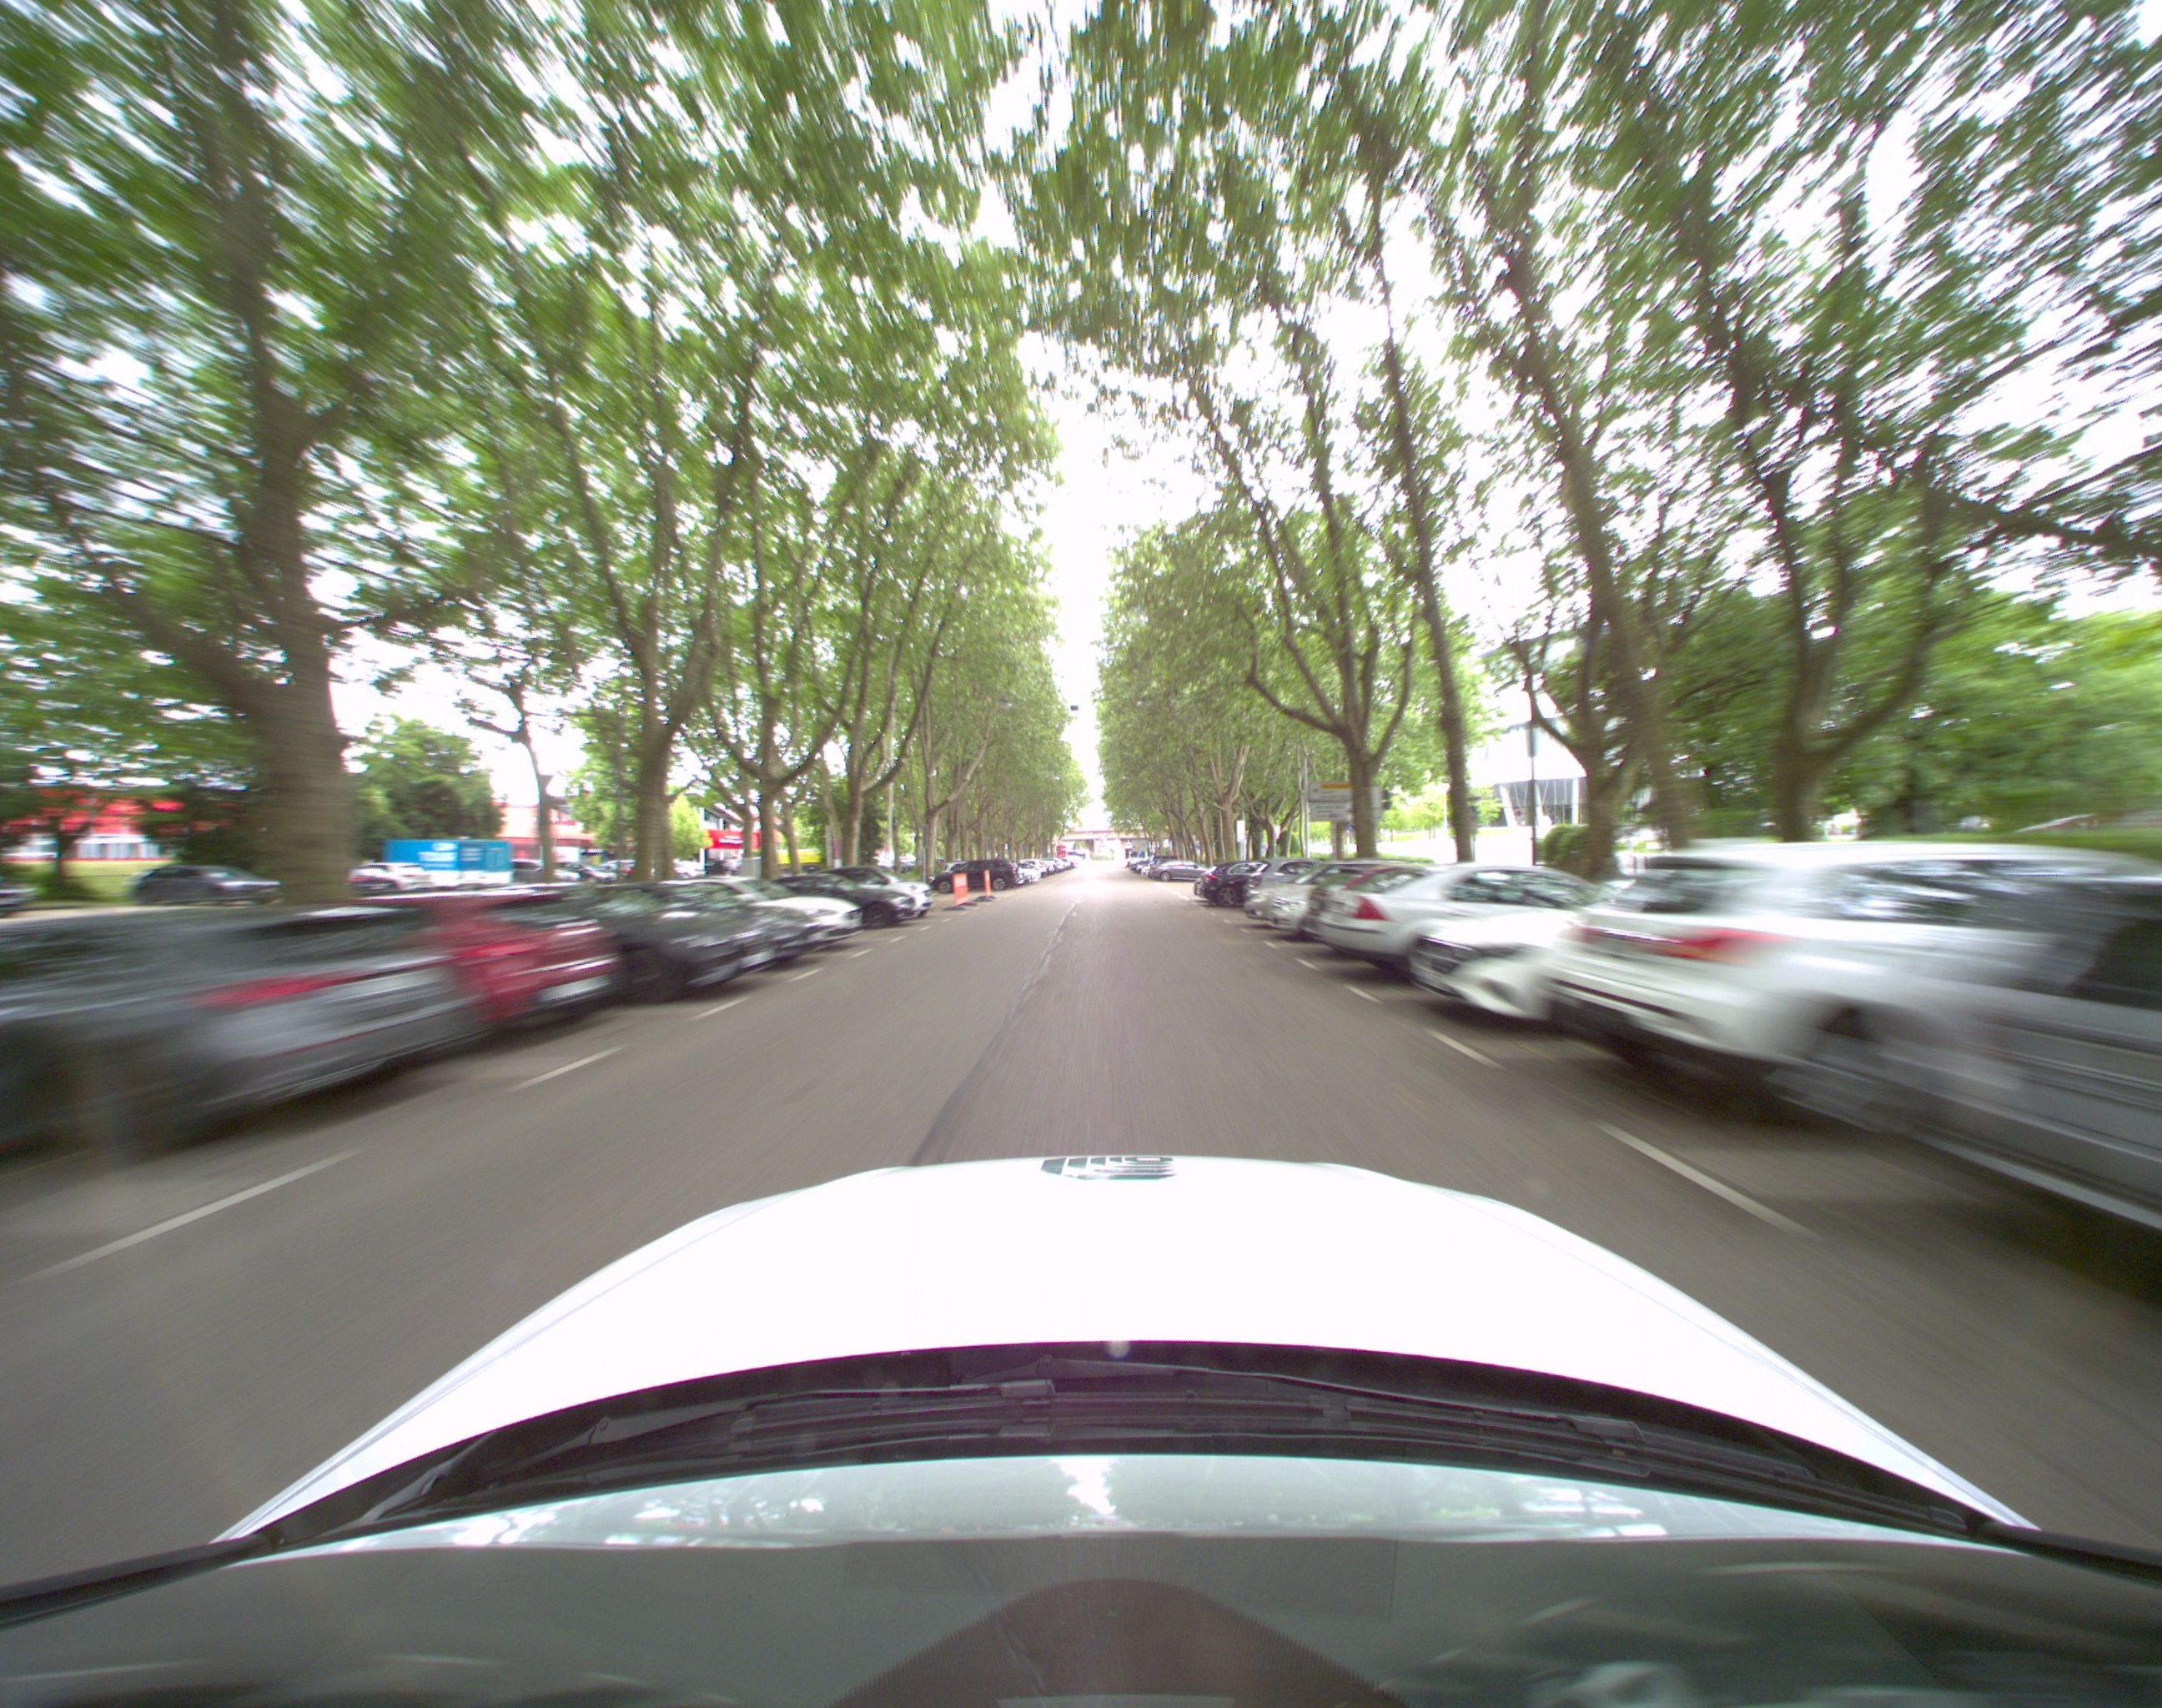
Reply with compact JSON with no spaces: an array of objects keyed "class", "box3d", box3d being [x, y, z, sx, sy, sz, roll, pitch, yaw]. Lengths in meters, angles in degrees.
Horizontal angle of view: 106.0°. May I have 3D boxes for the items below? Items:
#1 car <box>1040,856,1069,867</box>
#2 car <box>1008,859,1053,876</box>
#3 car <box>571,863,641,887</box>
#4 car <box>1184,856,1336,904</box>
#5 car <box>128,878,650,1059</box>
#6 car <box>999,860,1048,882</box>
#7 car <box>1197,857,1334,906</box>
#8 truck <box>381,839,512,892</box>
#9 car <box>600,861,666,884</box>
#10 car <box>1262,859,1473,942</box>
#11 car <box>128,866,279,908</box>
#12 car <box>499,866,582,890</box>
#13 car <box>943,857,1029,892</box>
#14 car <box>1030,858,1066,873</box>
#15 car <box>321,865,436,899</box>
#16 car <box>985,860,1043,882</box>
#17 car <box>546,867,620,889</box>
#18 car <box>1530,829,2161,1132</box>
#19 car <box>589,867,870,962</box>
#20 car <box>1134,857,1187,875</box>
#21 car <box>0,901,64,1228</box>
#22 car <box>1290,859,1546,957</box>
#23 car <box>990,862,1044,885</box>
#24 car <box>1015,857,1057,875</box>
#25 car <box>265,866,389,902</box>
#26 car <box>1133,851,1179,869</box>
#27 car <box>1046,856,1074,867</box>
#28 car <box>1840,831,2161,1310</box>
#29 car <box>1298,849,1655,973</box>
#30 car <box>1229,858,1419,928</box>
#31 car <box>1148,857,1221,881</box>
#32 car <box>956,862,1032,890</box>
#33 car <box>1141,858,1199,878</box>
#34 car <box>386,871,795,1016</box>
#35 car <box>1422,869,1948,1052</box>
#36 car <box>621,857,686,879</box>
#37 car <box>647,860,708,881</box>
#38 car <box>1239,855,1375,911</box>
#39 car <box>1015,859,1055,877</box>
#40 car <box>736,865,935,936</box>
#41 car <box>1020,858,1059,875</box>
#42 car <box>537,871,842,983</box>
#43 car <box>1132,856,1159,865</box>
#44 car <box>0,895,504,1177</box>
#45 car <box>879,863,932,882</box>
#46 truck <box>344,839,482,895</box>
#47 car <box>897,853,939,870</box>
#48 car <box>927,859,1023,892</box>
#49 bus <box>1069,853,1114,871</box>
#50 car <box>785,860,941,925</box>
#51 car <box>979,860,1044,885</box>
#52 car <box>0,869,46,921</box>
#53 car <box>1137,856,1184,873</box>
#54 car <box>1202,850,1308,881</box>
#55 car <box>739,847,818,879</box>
[{"class":"car","box3d":[-3.653,1.030,112.357,3.796,1.515,1.688,0,0,4]},{"class":"car","box3d":[-4.664,1.213,75.308,3.794,1.296,1.789,-3,0,6]},{"class":"car","box3d":[-31.765,1.405,54.553,3.744,1.590,1.535,0,0,-1]},{"class":"car","box3d":[5.906,0.835,27.254,4.644,1.452,1.926,1,0,0]},{"class":"car","box3d":[-6.632,1.056,8.060,3.808,1.430,1.697,-3,0,5]},{"class":"car","box3d":[-4.926,1.474,70.193,3.794,1.602,1.789,-3,0,6]},{"class":"car","box3d":[5.627,0.839,25.113,3.905,1.452,1.555,0,0,0]},{"class":"truck","box3d":[-33.657,0.589,43.328,5.217,2.742,2.207,0,0,1]},{"class":"car","box3d":[-31.413,1.297,57.105,3.744,1.590,1.535,0,0,-1]},{"class":"car","box3d":[5.177,0.819,15.022,3.410,1.424,1.520,0,0,3]},{"class":"car","box3d":[-32.686,1.224,30.411,3.789,1.486,1.678,0,0,0]},{"class":"car","box3d":[-31.452,1.381,47.439,3.743,1.349,1.535,0,0,0]},{"class":"car","box3d":[-5.216,1.115,45.249,4.458,1.677,1.762,-3,0,0]},{"class":"car","box3d":[-3.792,1.303,92.961,3.794,1.515,1.689,-3,0,6]},{"class":"car","box3d":[-32.400,1.285,37.642,3.789,1.486,1.712,0,0,0]},{"class":"car","box3d":[-4.770,1.183,57.973,3.794,1.330,1.665,-3,0,6]},{"class":"car","box3d":[-31.850,1.510,52.152,3.744,1.349,1.535,0,0,-1]},{"class":"car","box3d":[5.145,0.694,5.319,3.636,1.667,1.518,0,0,-2]},{"class":"car","box3d":[-6.354,1.059,15.079,4.389,1.430,1.693,-3,0,-2]},{"class":"car","box3d":[6.303,0.949,64.491,4.154,1.442,1.734,0,0,6]},{"class":"car","box3d":[-6.722,1.024,2.907,3.815,1.429,1.802,-3,0,0]},{"class":"car","box3d":[5.176,0.794,12.760,3.416,1.424,1.518,0,0,-2]},{"class":"car","box3d":[-4.951,1.506,63.142,3.794,1.484,1.665,-3,0,6]},{"class":"car","box3d":[-4.413,1.162,80.692,3.794,1.515,1.689,-3,0,6]},{"class":"car","box3d":[-32.618,1.271,35.289,3.789,1.486,1.678,0,0,0]},{"class":"car","box3d":[7.333,0.559,79.783,4.364,1.751,1.730,0,0,-1]},{"class":"car","box3d":[-2.955,0.997,114.502,3.796,1.515,1.688,0,0,4]},{"class":"car","box3d":[5.277,0.686,2.828,3.626,1.519,1.646,0,0,6]},{"class":"car","box3d":[4.861,0.650,10.420,3.636,1.424,1.984,0,0,-2]},{"class":"car","box3d":[5.155,0.812,17.585,3.667,1.424,1.519,0,0,-1]},{"class":"car","box3d":[6.618,0.948,52.296,4.551,1.486,2.004,0,0,6]},{"class":"car","box3d":[-5.047,1.265,47.775,4.154,1.381,1.871,-3,0,0]},{"class":"car","box3d":[6.466,1.013,59.430,4.154,1.442,1.734,0,0,6]},{"class":"car","box3d":[-5.929,1.042,10.226,4.010,1.430,1.693,-3,0,-2]},{"class":"car","box3d":[5.151,0.850,7.244,3.636,1.410,1.518,0,0,-2]},{"class":"car","box3d":[-31.451,1.037,59.916,3.962,1.590,1.698,0,0,10]},{"class":"car","box3d":[-31.170,1.256,62.968,3.962,1.590,1.698,0,0,10]},{"class":"car","box3d":[6.280,0.782,22.858,3.413,1.508,1.555,0,0,0]},{"class":"car","box3d":[-4.671,1.414,82.887,3.794,1.515,1.689,-3,0,6]},{"class":"car","box3d":[-5.926,1.104,20.026,4.321,1.430,1.693,-3,0,-2]},{"class":"car","box3d":[-4.345,1.270,85.084,3.794,1.515,1.689,-3,0,6]},{"class":"car","box3d":[-5.892,1.063,12.606,3.816,1.430,1.693,-3,-1,-2]},{"class":"car","box3d":[10.523,1.030,133.859,4.359,1.523,1.732,0,0,2]},{"class":"car","box3d":[-6.413,1.120,5.433,3.816,1.430,1.693,-3,0,-2]},{"class":"car","box3d":[-18.694,1.978,86.872,5.054,2.014,2.178,0,0,4]},{"class":"truck","box3d":[-33.134,0.618,40.495,5.293,2.742,1.929,0,0,1]},{"class":"car","box3d":[-19.384,0.886,96.949,4.331,2.014,2.178,0,0,5]},{"class":"car","box3d":[-5.456,1.110,42.444,4.650,1.427,2.000,-3,0,0]},{"class":"bus","box3d":[2.531,2.048,200.729,11.461,3.971,2.470,-3,-2,31]},{"class":"car","box3d":[-6.005,1.044,22.764,3.816,1.554,1.693,-3,0,-2]},{"class":"car","box3d":[-4.466,1.180,52.531,3.794,1.354,1.665,-3,0,6]},{"class":"car","box3d":[-32.787,1.178,23.444,3.789,1.486,1.678,0,0,0]},{"class":"car","box3d":[7.252,0.957,74.515,4.036,1.468,1.730,0,0,-1]},{"class":"car","box3d":[8.906,0.595,41.821,4.930,1.402,1.994,2,0,-9]},{"class":"car","box3d":[-21.623,0.646,58.268,5.061,2.232,1.535,0,0,0]}]
